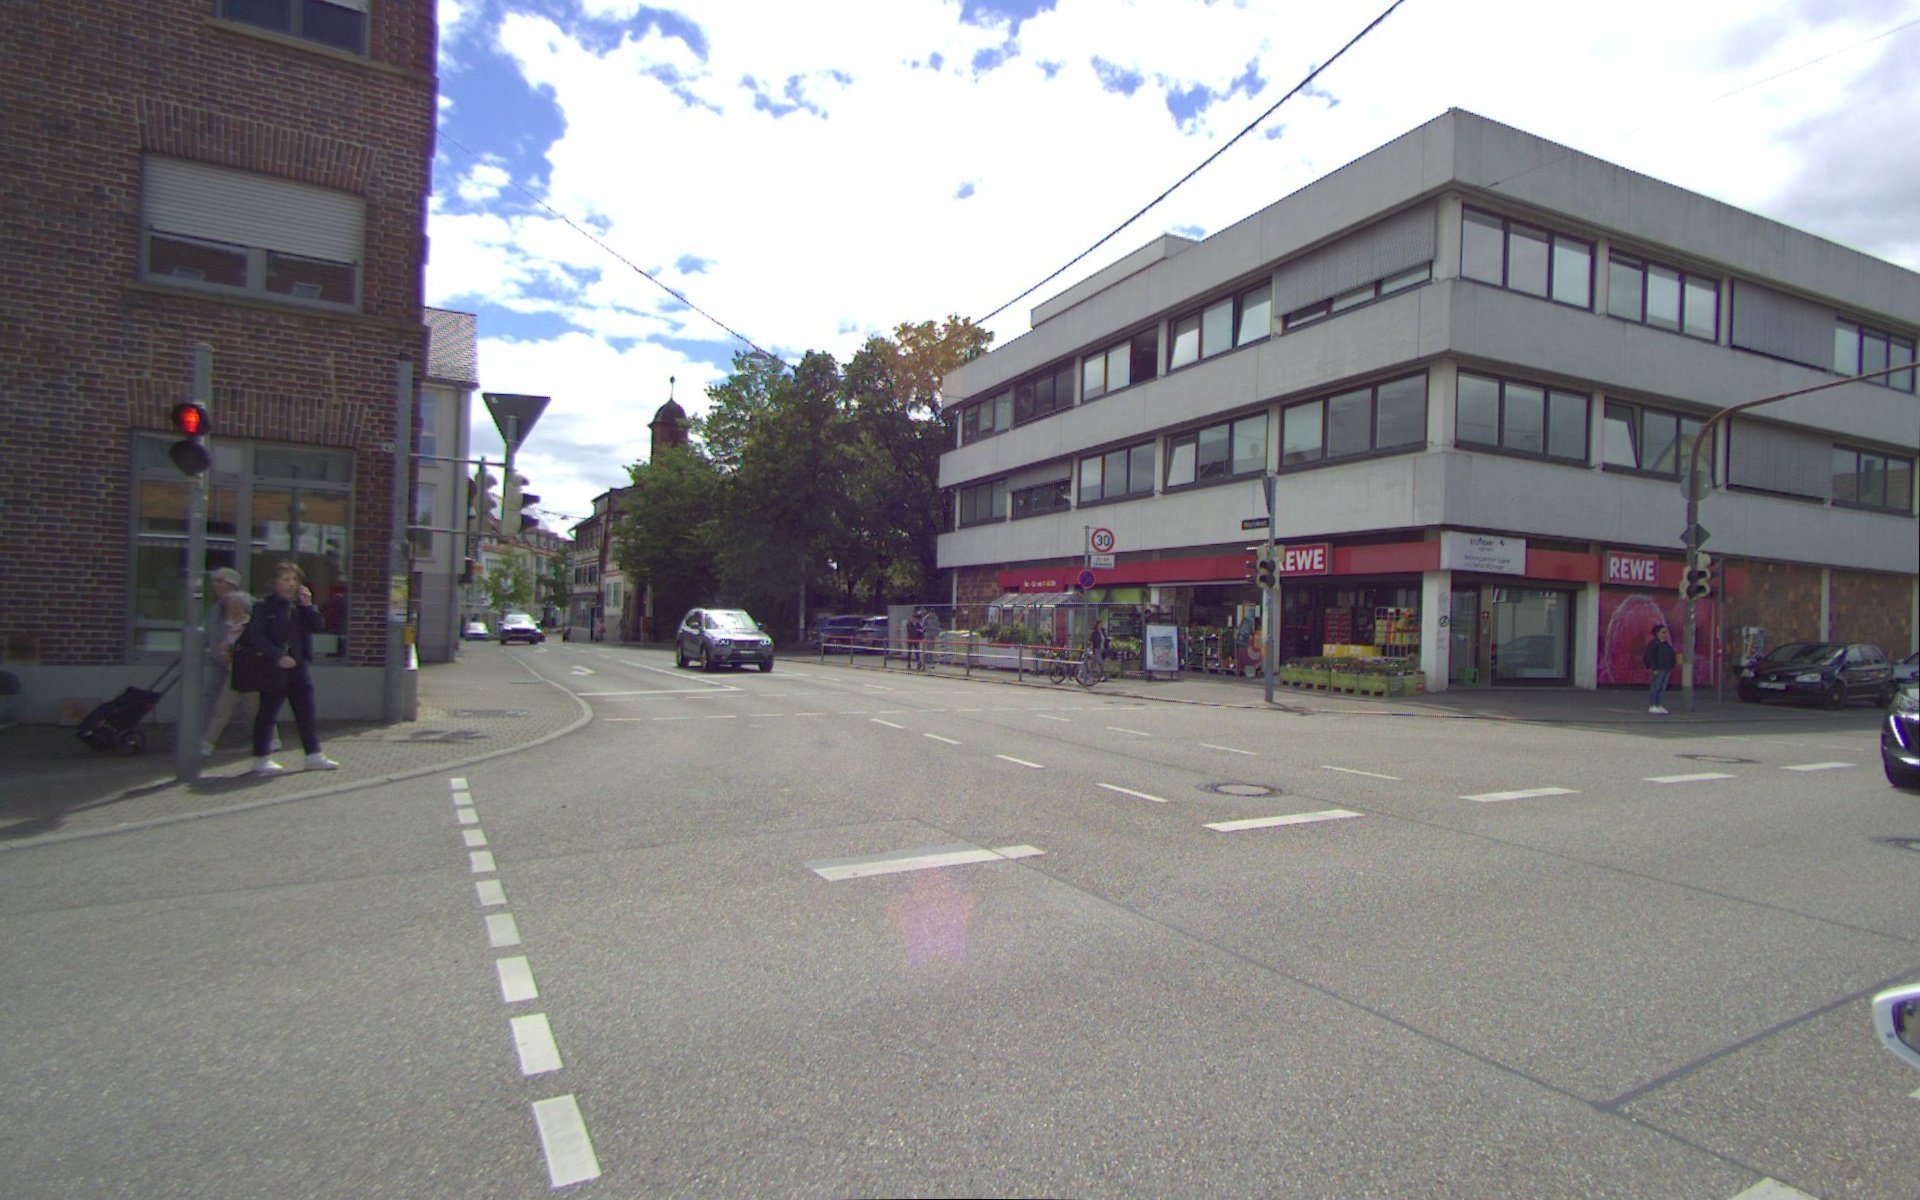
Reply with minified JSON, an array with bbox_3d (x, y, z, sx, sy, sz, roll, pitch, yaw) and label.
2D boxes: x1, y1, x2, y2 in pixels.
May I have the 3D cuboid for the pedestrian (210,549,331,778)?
[{"bbox_3d":[-5.767,0.518,8.443,0.713,1.820,0.622,3,-1,-32],"label":"pedestrian"}]

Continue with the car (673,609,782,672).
[{"bbox_3d":[-6.486,1.079,27.726,1.898,1.595,3.969,2,-2,-29],"label":"car"}]

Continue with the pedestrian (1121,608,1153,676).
[{"bbox_3d":[4.784,1.136,27.162,0.612,1.799,0.554,2,-1,35],"label":"pedestrian"}]

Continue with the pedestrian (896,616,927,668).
[{"bbox_3d":[-1.523,1.300,31.326,0.671,1.598,0.727,1,-1,-37],"label":"pedestrian"}]

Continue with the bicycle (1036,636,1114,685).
[{"bbox_3d":[2.782,1.452,24.445,0.769,1.157,1.866,3,-3,-39],"label":"bicycle"}]

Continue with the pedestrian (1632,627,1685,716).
[{"bbox_3d":[13.392,1.350,19.254,0.652,1.663,0.616,2,-1,-29],"label":"pedestrian"}]

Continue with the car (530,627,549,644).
[{"bbox_3d":[-39.053,3.289,93.267,1.467,1.499,3.178,1,-2,-26],"label":"car"}]

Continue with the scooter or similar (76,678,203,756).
[{"bbox_3d":[-7.411,1.042,9.087,0.374,0.654,0.807,-1,-3,37],"label":"scooter or similar"}]

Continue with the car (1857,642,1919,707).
[{"bbox_3d":[24.634,1.864,25.008,4.384,1.463,1.897,2,1,-26],"label":"car"}]

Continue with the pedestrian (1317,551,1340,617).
[{"bbox_3d":[10.084,-0.425,27.486,0.381,1.762,0.779,3,-1,31],"label":"pedestrian"}]

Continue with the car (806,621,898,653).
[{"bbox_3d":[-4.706,1.612,43.779,3.669,1.339,1.776,1,-1,-21],"label":"car"}]

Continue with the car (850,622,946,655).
[{"bbox_3d":[-2.621,1.598,42.160,3.669,1.338,1.776,1,-1,-21],"label":"car"}]

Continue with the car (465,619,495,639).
[{"bbox_3d":[-38.992,2.361,81.531,1.898,1.595,4.296,2,-2,-29],"label":"car"}]

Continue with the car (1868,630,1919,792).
[{"bbox_3d":[10.952,1.103,10.057,3.921,1.516,1.675,2,-2,-30],"label":"car"}]

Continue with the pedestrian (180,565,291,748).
[{"bbox_3d":[-6.953,0.538,9.675,0.753,1.680,0.521,3,-1,-32],"label":"pedestrian"}]

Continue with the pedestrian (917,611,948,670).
[{"bbox_3d":[-0.882,1.302,32.288,0.671,1.860,0.727,1,-1,-37],"label":"pedestrian"}]

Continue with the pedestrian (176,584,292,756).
[{"bbox_3d":[-6.639,0.630,9.217,0.753,1.504,0.521,4,-1,-32],"label":"pedestrian"}]

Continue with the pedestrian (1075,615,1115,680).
[{"bbox_3d":[3.473,1.212,25.812,0.712,1.618,0.695,3,-1,33],"label":"pedestrian"}]

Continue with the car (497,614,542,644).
[{"bbox_3d":[-24.410,1.598,55.571,1.898,1.595,4.296,2,-2,-29],"label":"car"}]

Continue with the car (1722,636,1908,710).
[{"bbox_3d":[19.587,1.645,22.998,4.034,1.484,1.778,2,0,-27],"label":"car"}]

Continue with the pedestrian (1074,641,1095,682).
[{"bbox_3d":[3.132,1.547,25.277,0.357,1.018,0.384,2,-1,34],"label":"pedestrian"}]
